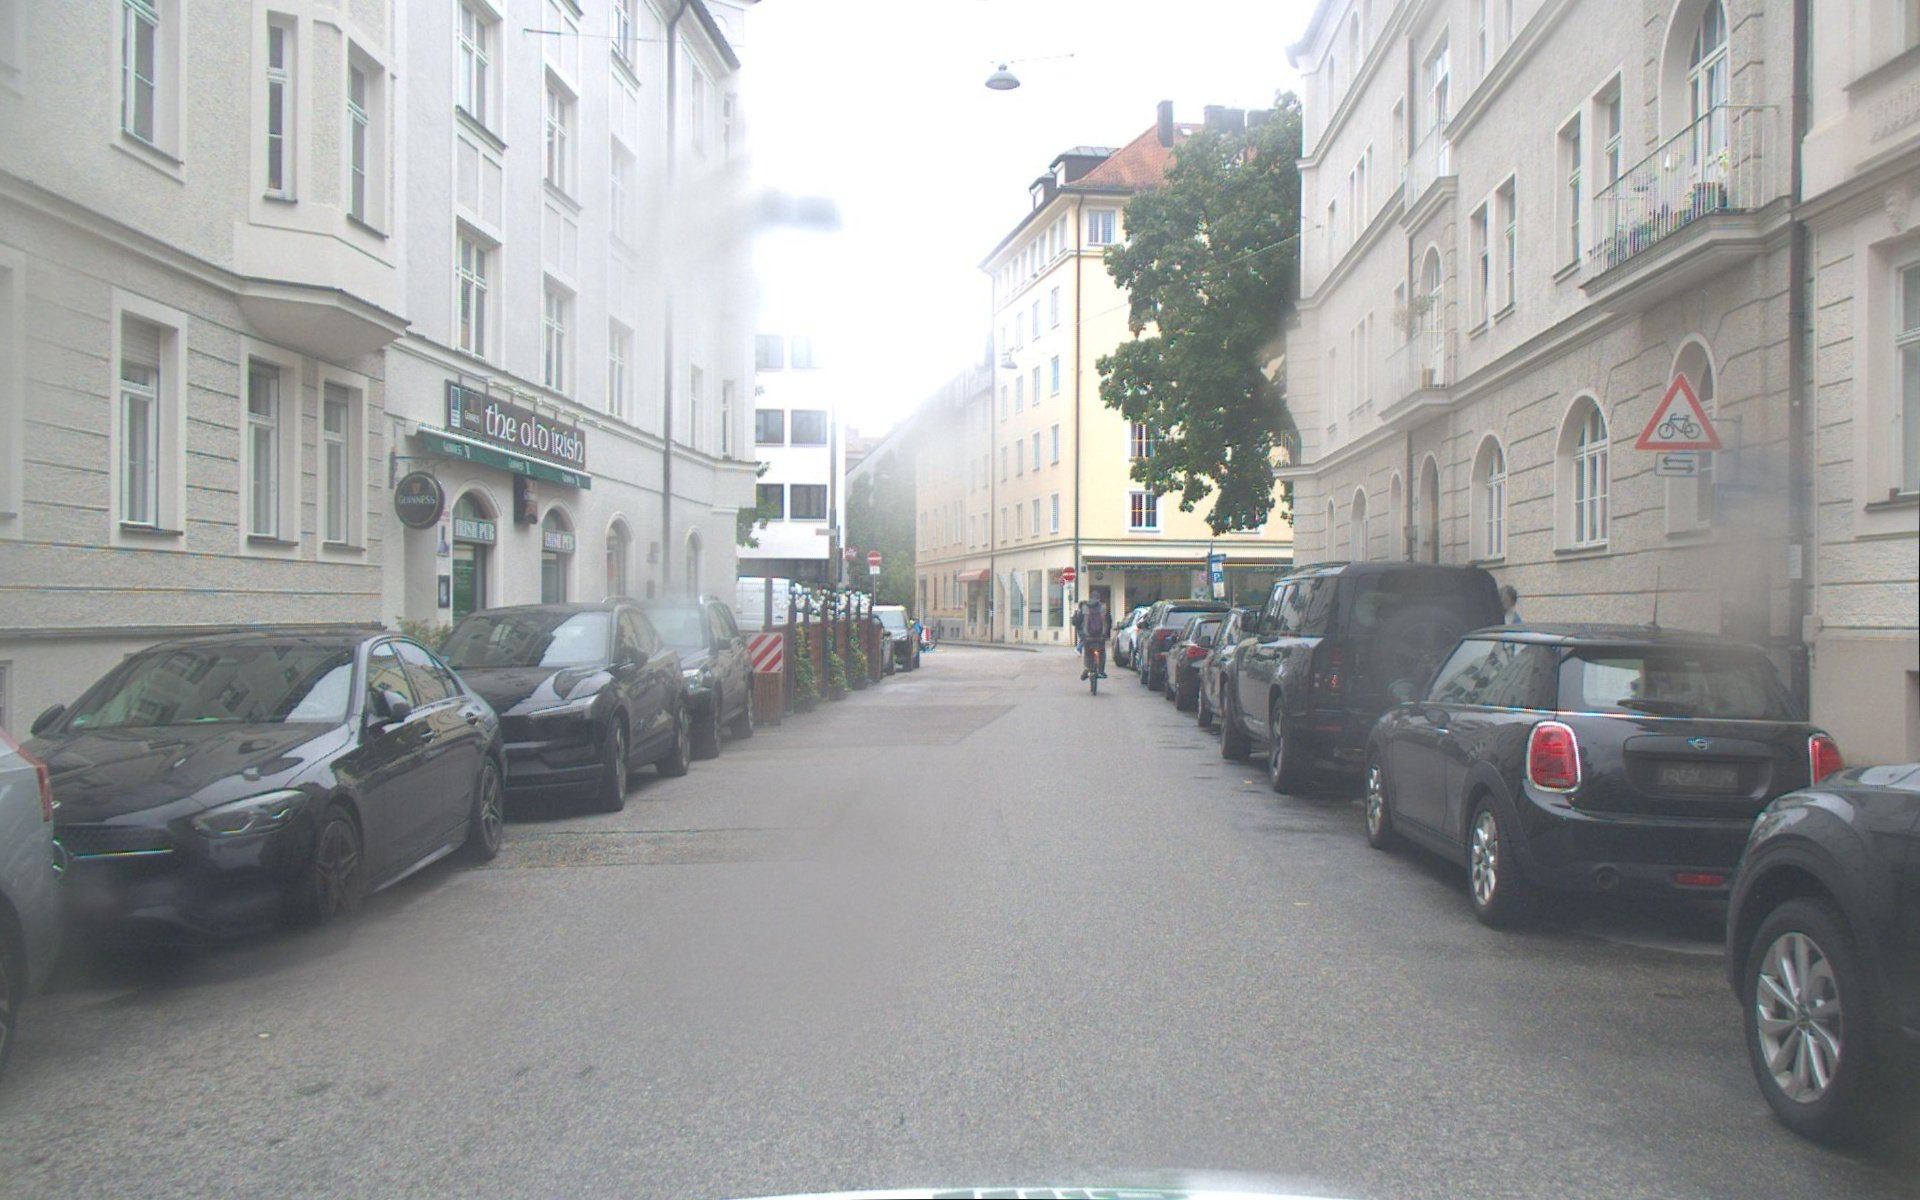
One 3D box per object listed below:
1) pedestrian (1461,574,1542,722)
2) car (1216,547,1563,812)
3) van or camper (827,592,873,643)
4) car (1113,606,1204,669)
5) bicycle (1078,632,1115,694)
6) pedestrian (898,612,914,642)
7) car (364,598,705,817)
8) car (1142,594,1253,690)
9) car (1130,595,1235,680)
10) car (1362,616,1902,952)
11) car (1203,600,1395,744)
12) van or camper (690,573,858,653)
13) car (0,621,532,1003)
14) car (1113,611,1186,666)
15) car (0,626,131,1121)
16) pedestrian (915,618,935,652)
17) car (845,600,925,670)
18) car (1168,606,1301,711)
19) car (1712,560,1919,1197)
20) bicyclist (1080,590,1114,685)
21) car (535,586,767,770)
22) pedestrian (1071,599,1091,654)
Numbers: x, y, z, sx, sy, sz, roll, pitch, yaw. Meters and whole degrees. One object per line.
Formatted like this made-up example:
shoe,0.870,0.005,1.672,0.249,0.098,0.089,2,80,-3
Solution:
pedestrian,6.415,0.562,19.634,0.666,1.703,0.654,-2,0,-2
car,3.589,0.608,14.776,1.871,1.918,4.714,2,0,1
van or camper,-5.769,0.899,86.355,1.957,2.584,4.750,0,-1,-9
car,4.992,0.928,41.957,1.715,1.522,3.908,0,0,-2
bicycle,2.404,1.094,29.058,0.626,1.022,1.575,0,-1,5
pedestrian,-3.293,1.650,101.175,0.862,1.809,0.771,0,-1,-10
car,-3.278,0.758,13.582,1.706,1.513,4.181,0,0,0
car,4.467,0.754,31.644,1.740,1.664,4.377,1,0,4
car,4.852,0.788,36.577,1.753,1.743,4.426,0,0,0
car,3.399,0.825,9.092,1.629,1.420,3.583,2,0,3
car,3.975,0.789,19.911,1.621,1.552,3.637,1,0,1
van or camper,-6.550,0.473,58.422,5.792,2.724,1.870,0,-2,-7
car,-3.628,0.862,8.660,1.774,1.409,4.441,-2,0,-3
car,5.274,1.048,46.430,1.635,1.460,4.214,1,0,1
car,-3.737,0.832,3.337,1.758,1.444,4.510,-3,-1,1
pedestrian,-1.327,1.334,63.054,0.684,1.293,0.651,-1,-1,5
car,-1.871,0.875,42.245,1.641,1.625,3.946,-2,-1,2
car,4.215,0.853,25.938,1.670,1.496,4.203,0,0,4
car,3.303,0.728,3.340,1.673,1.615,3.999,1,0,-1
bicyclist,2.413,0.651,29.145,0.593,1.635,0.758,0,0,4
car,-3.274,0.764,18.345,1.710,1.702,4.275,-3,0,0
pedestrian,3.721,0.812,50.994,0.598,1.690,0.551,0,0,5
